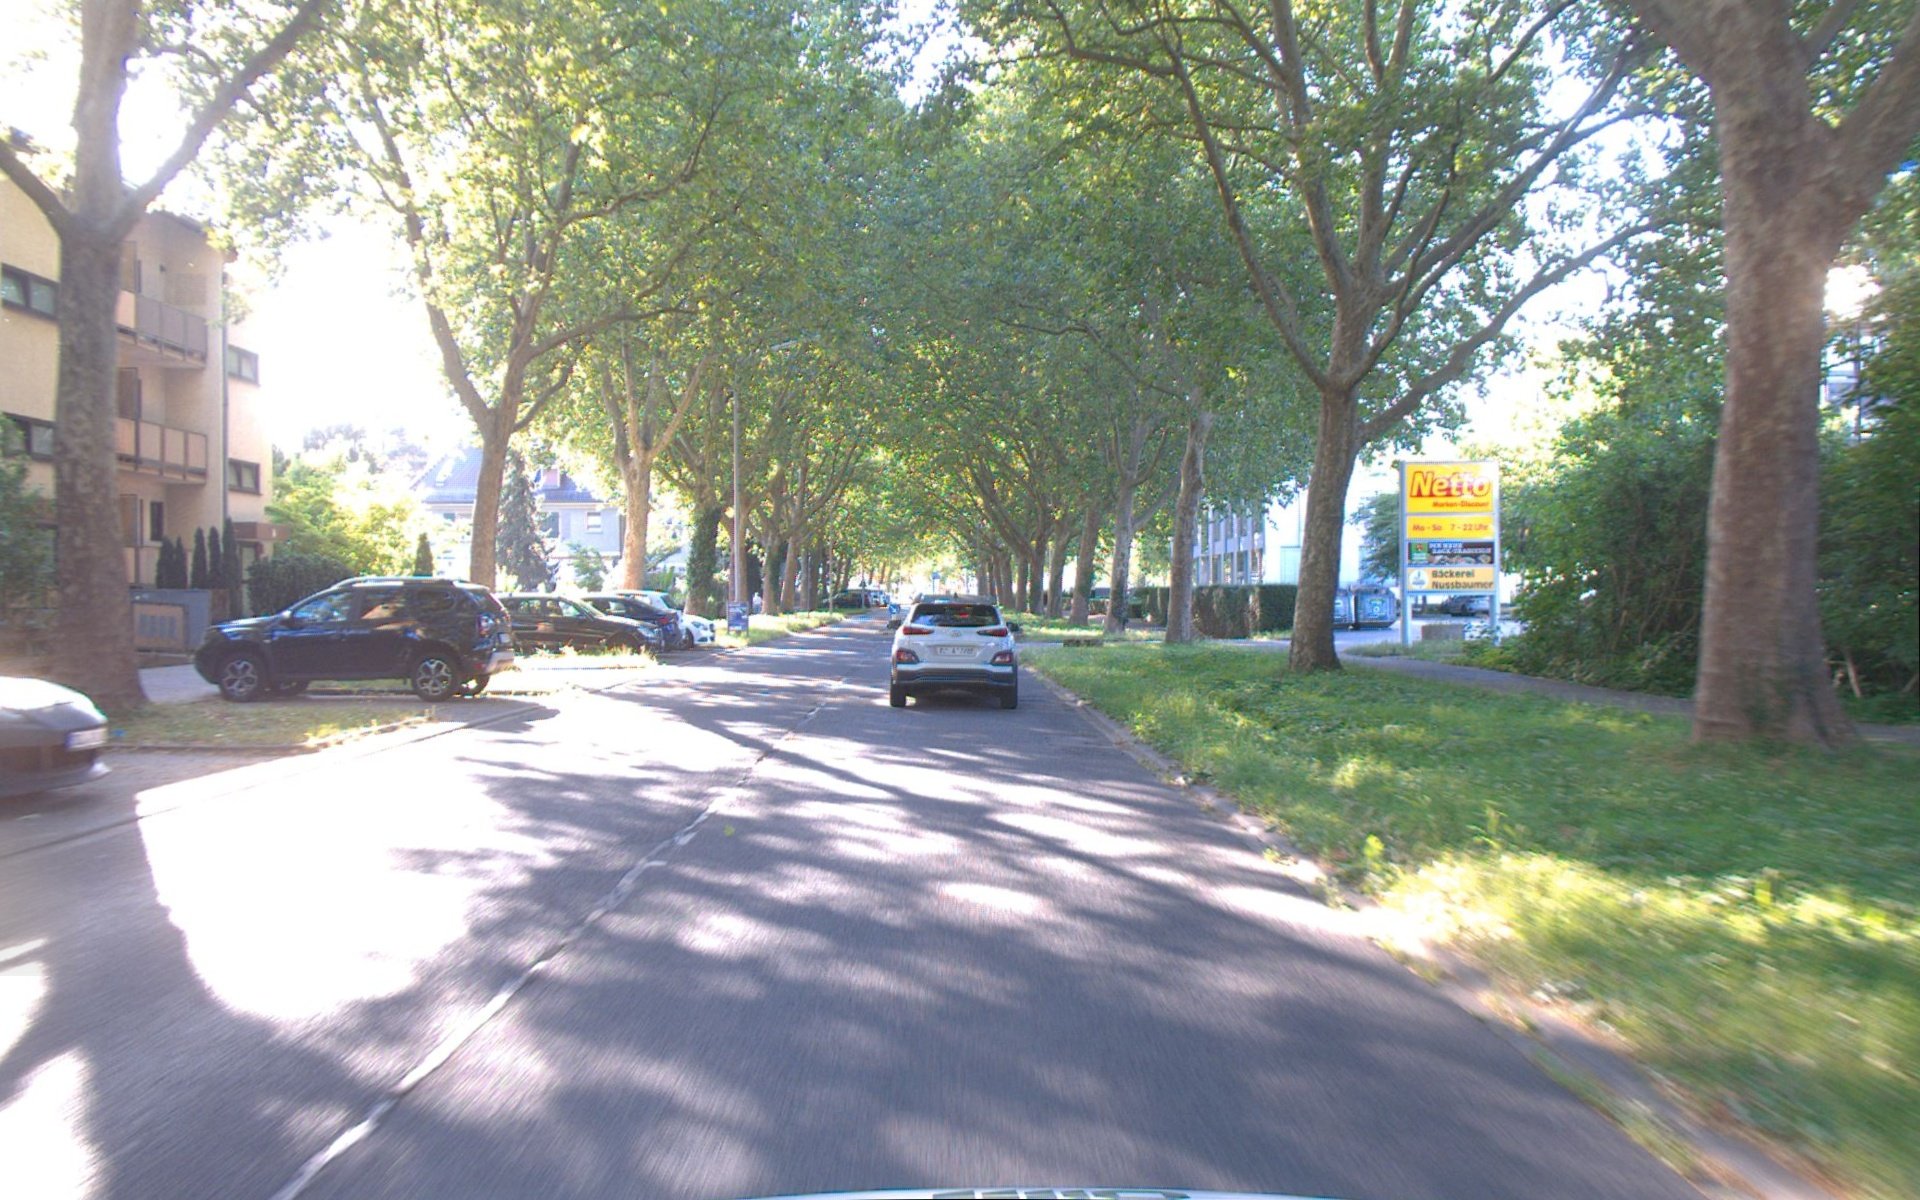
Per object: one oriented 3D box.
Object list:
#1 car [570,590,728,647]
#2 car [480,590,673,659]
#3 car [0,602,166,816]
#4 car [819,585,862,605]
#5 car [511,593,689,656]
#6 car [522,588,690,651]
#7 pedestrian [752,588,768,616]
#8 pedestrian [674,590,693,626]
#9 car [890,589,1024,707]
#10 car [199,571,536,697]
[{"bbox_3d":[-8.327,0.486,44.545,3.905,1.496,1.809,0,0,0],"label":"car"},{"bbox_3d":[-8.458,0.519,36.740,3.907,1.496,1.780,0,0,-2],"label":"car"},{"bbox_3d":[-8.032,0.740,11.492,4.156,1.376,1.740,-1,0,-3],"label":"car"},{"bbox_3d":[-10.942,-0.426,151.152,3.910,1.803,1.997,1,0,-6],"label":"car"},{"bbox_3d":[-8.480,0.566,39.199,3.909,1.449,1.807,0,0,-5],"label":"car"},{"bbox_3d":[-8.897,0.474,41.804,3.907,1.546,1.808,0,0,-2],"label":"car"},{"bbox_3d":[-12.540,0.134,103.647,0.740,1.737,0.787,1,-1,-25],"label":"pedestrian"},{"bbox_3d":[-13.536,0.396,81.024,0.734,1.737,0.793,2,0,-1],"label":"pedestrian"},{"bbox_3d":[-0.082,0.653,24.321,1.798,1.583,3.999,0,0,-1],"label":"car"},{"bbox_3d":[-8.305,0.458,23.436,4.158,1.709,1.670,0,0,-2],"label":"car"}]
